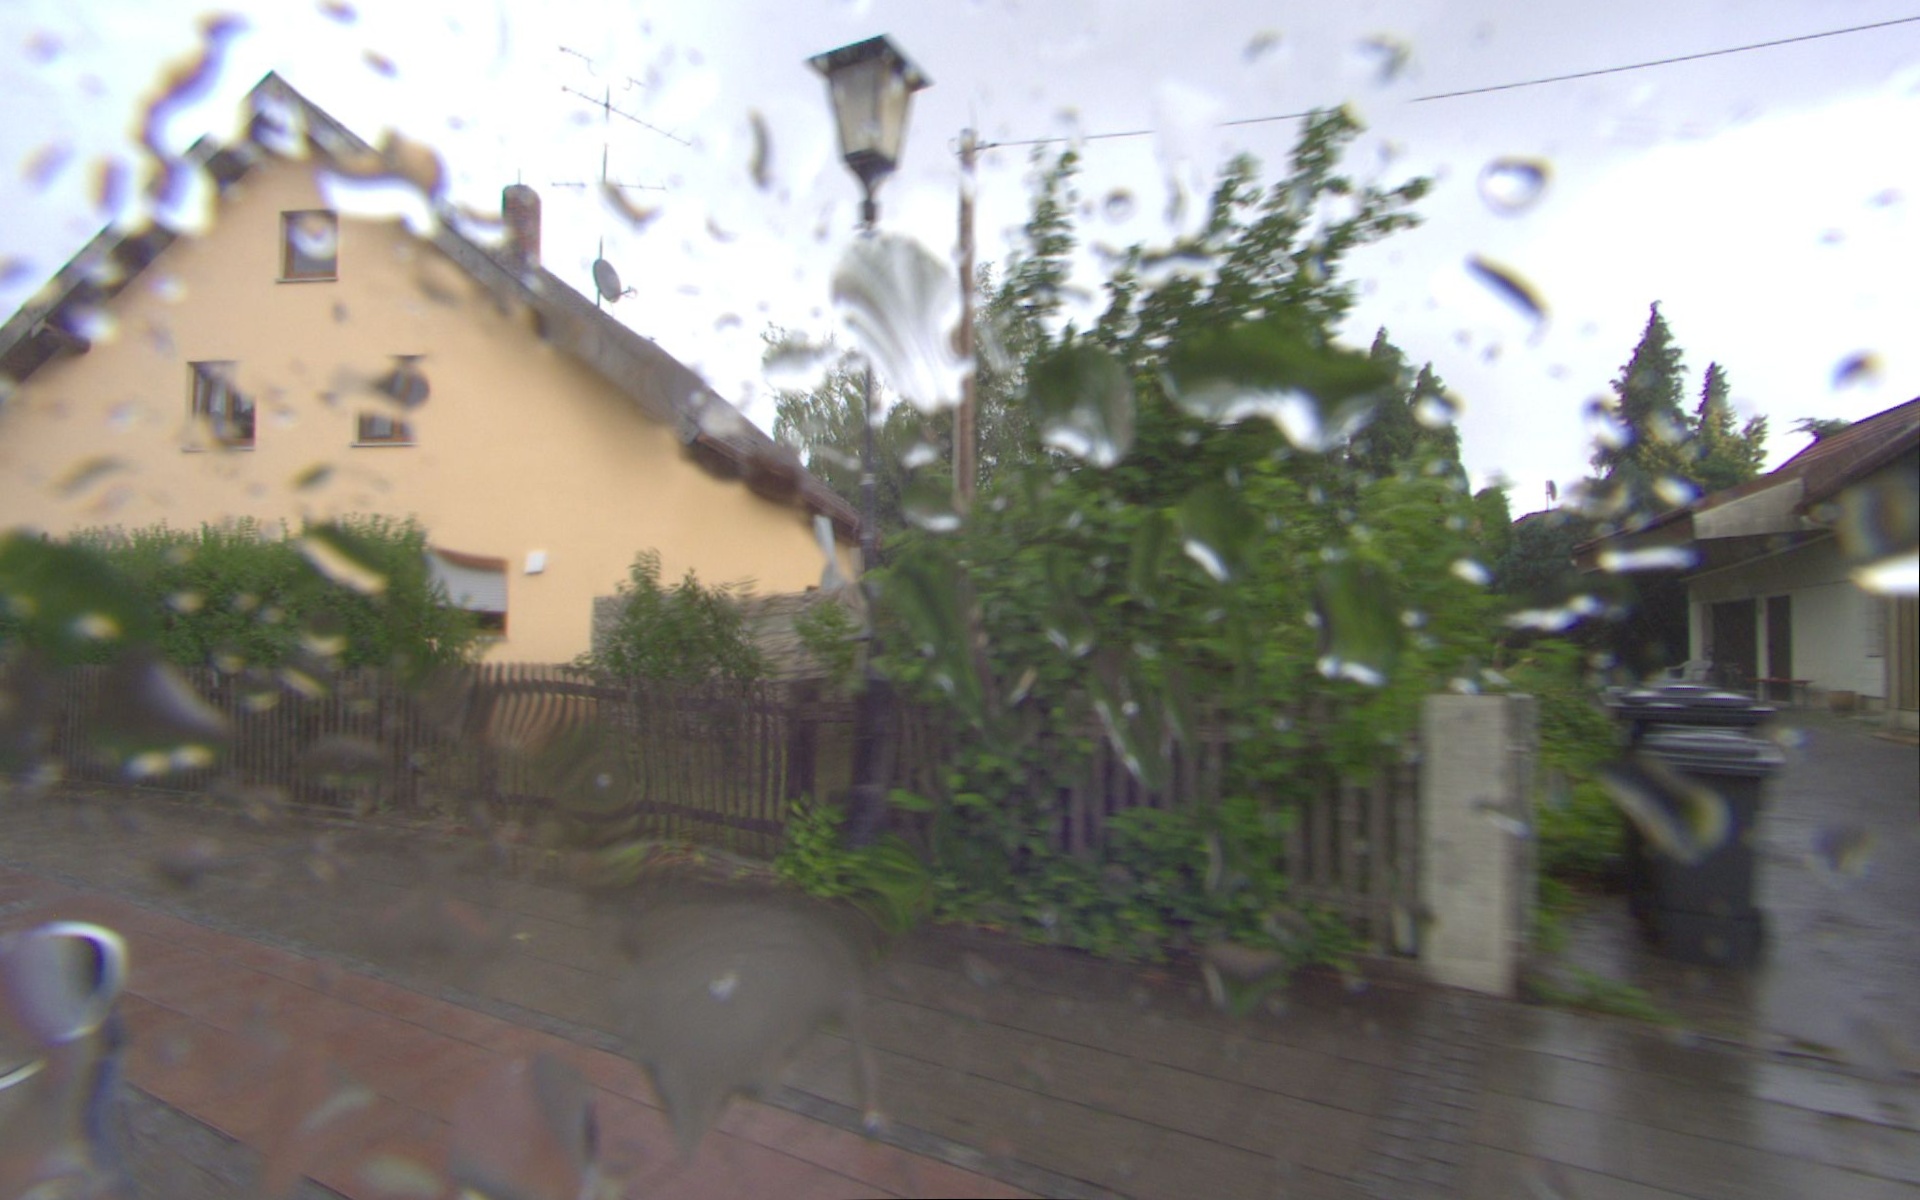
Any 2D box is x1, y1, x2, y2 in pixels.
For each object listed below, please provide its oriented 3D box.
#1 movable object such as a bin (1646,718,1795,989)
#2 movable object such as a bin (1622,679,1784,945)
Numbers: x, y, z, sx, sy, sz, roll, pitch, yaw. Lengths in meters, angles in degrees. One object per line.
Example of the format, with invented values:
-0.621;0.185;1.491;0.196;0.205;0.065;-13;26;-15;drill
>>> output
3.047;0.983;4.041;0.440;0.948;0.432;-1;1;33;movable object such as a bin
3.350;0.914;4.560;0.545;1.054;0.573;-1;1;33;movable object such as a bin
